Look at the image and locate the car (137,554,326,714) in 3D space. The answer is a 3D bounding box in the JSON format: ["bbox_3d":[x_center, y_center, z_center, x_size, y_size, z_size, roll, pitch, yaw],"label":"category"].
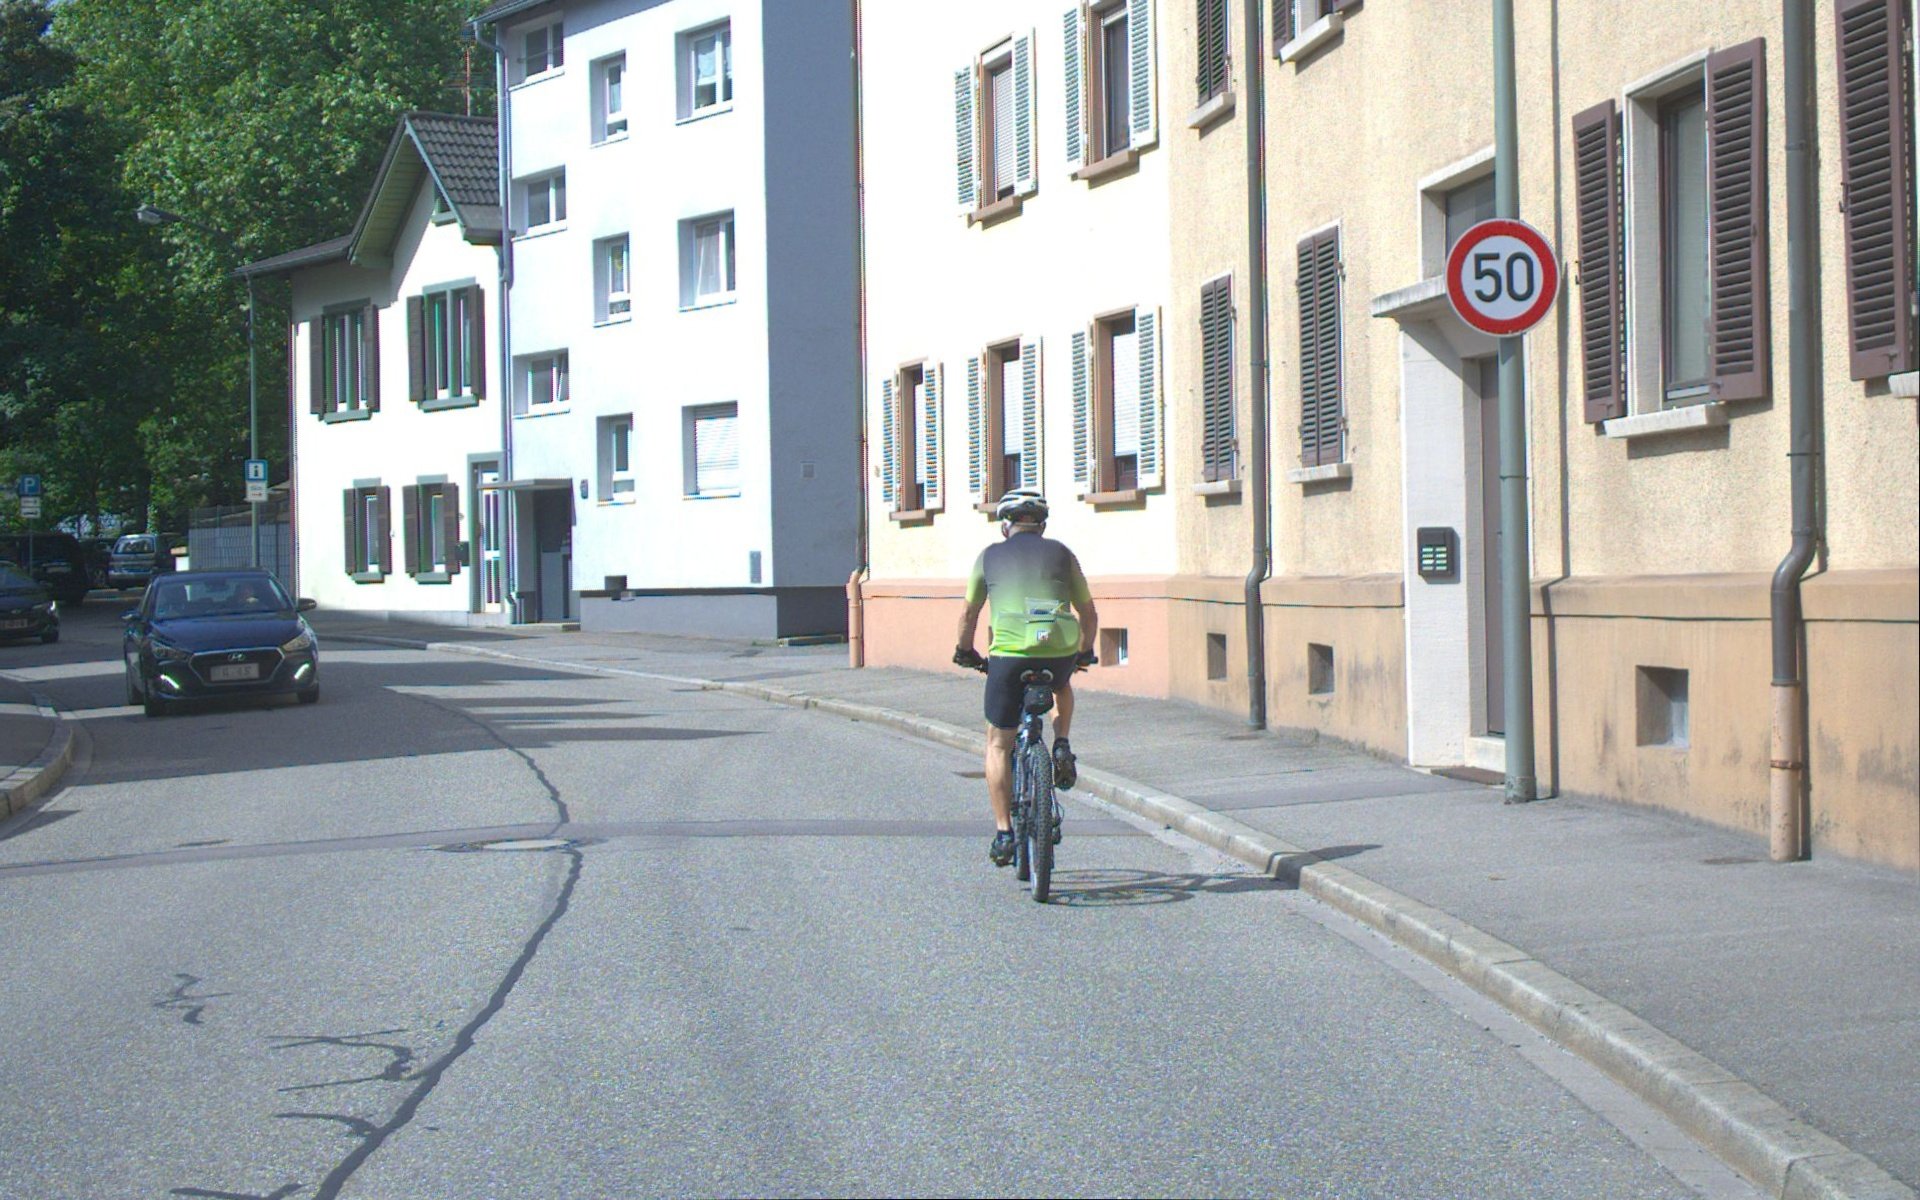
[{"bbox_3d":[-7.748,0.313,36.532,1.747,1.448,4.029,-5,2,-12],"label":"car"}]

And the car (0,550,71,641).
[{"bbox_3d":[-17.166,-0.021,59.384,1.660,1.444,4.256,-5,2,-41],"label":"car"}]

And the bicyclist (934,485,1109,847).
[{"bbox_3d":[0.260,0.278,15.012,0.685,1.526,0.715,-2,0,-2],"label":"bicyclist"}]

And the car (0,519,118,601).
[{"bbox_3d":[-21.492,-0.954,80.434,1.823,1.785,3.999,-3,3,-40],"label":"car"}]

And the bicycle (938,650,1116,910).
[{"bbox_3d":[0.273,0.760,15.041,0.698,1.032,1.471,0,1,-2],"label":"bicycle"}]
